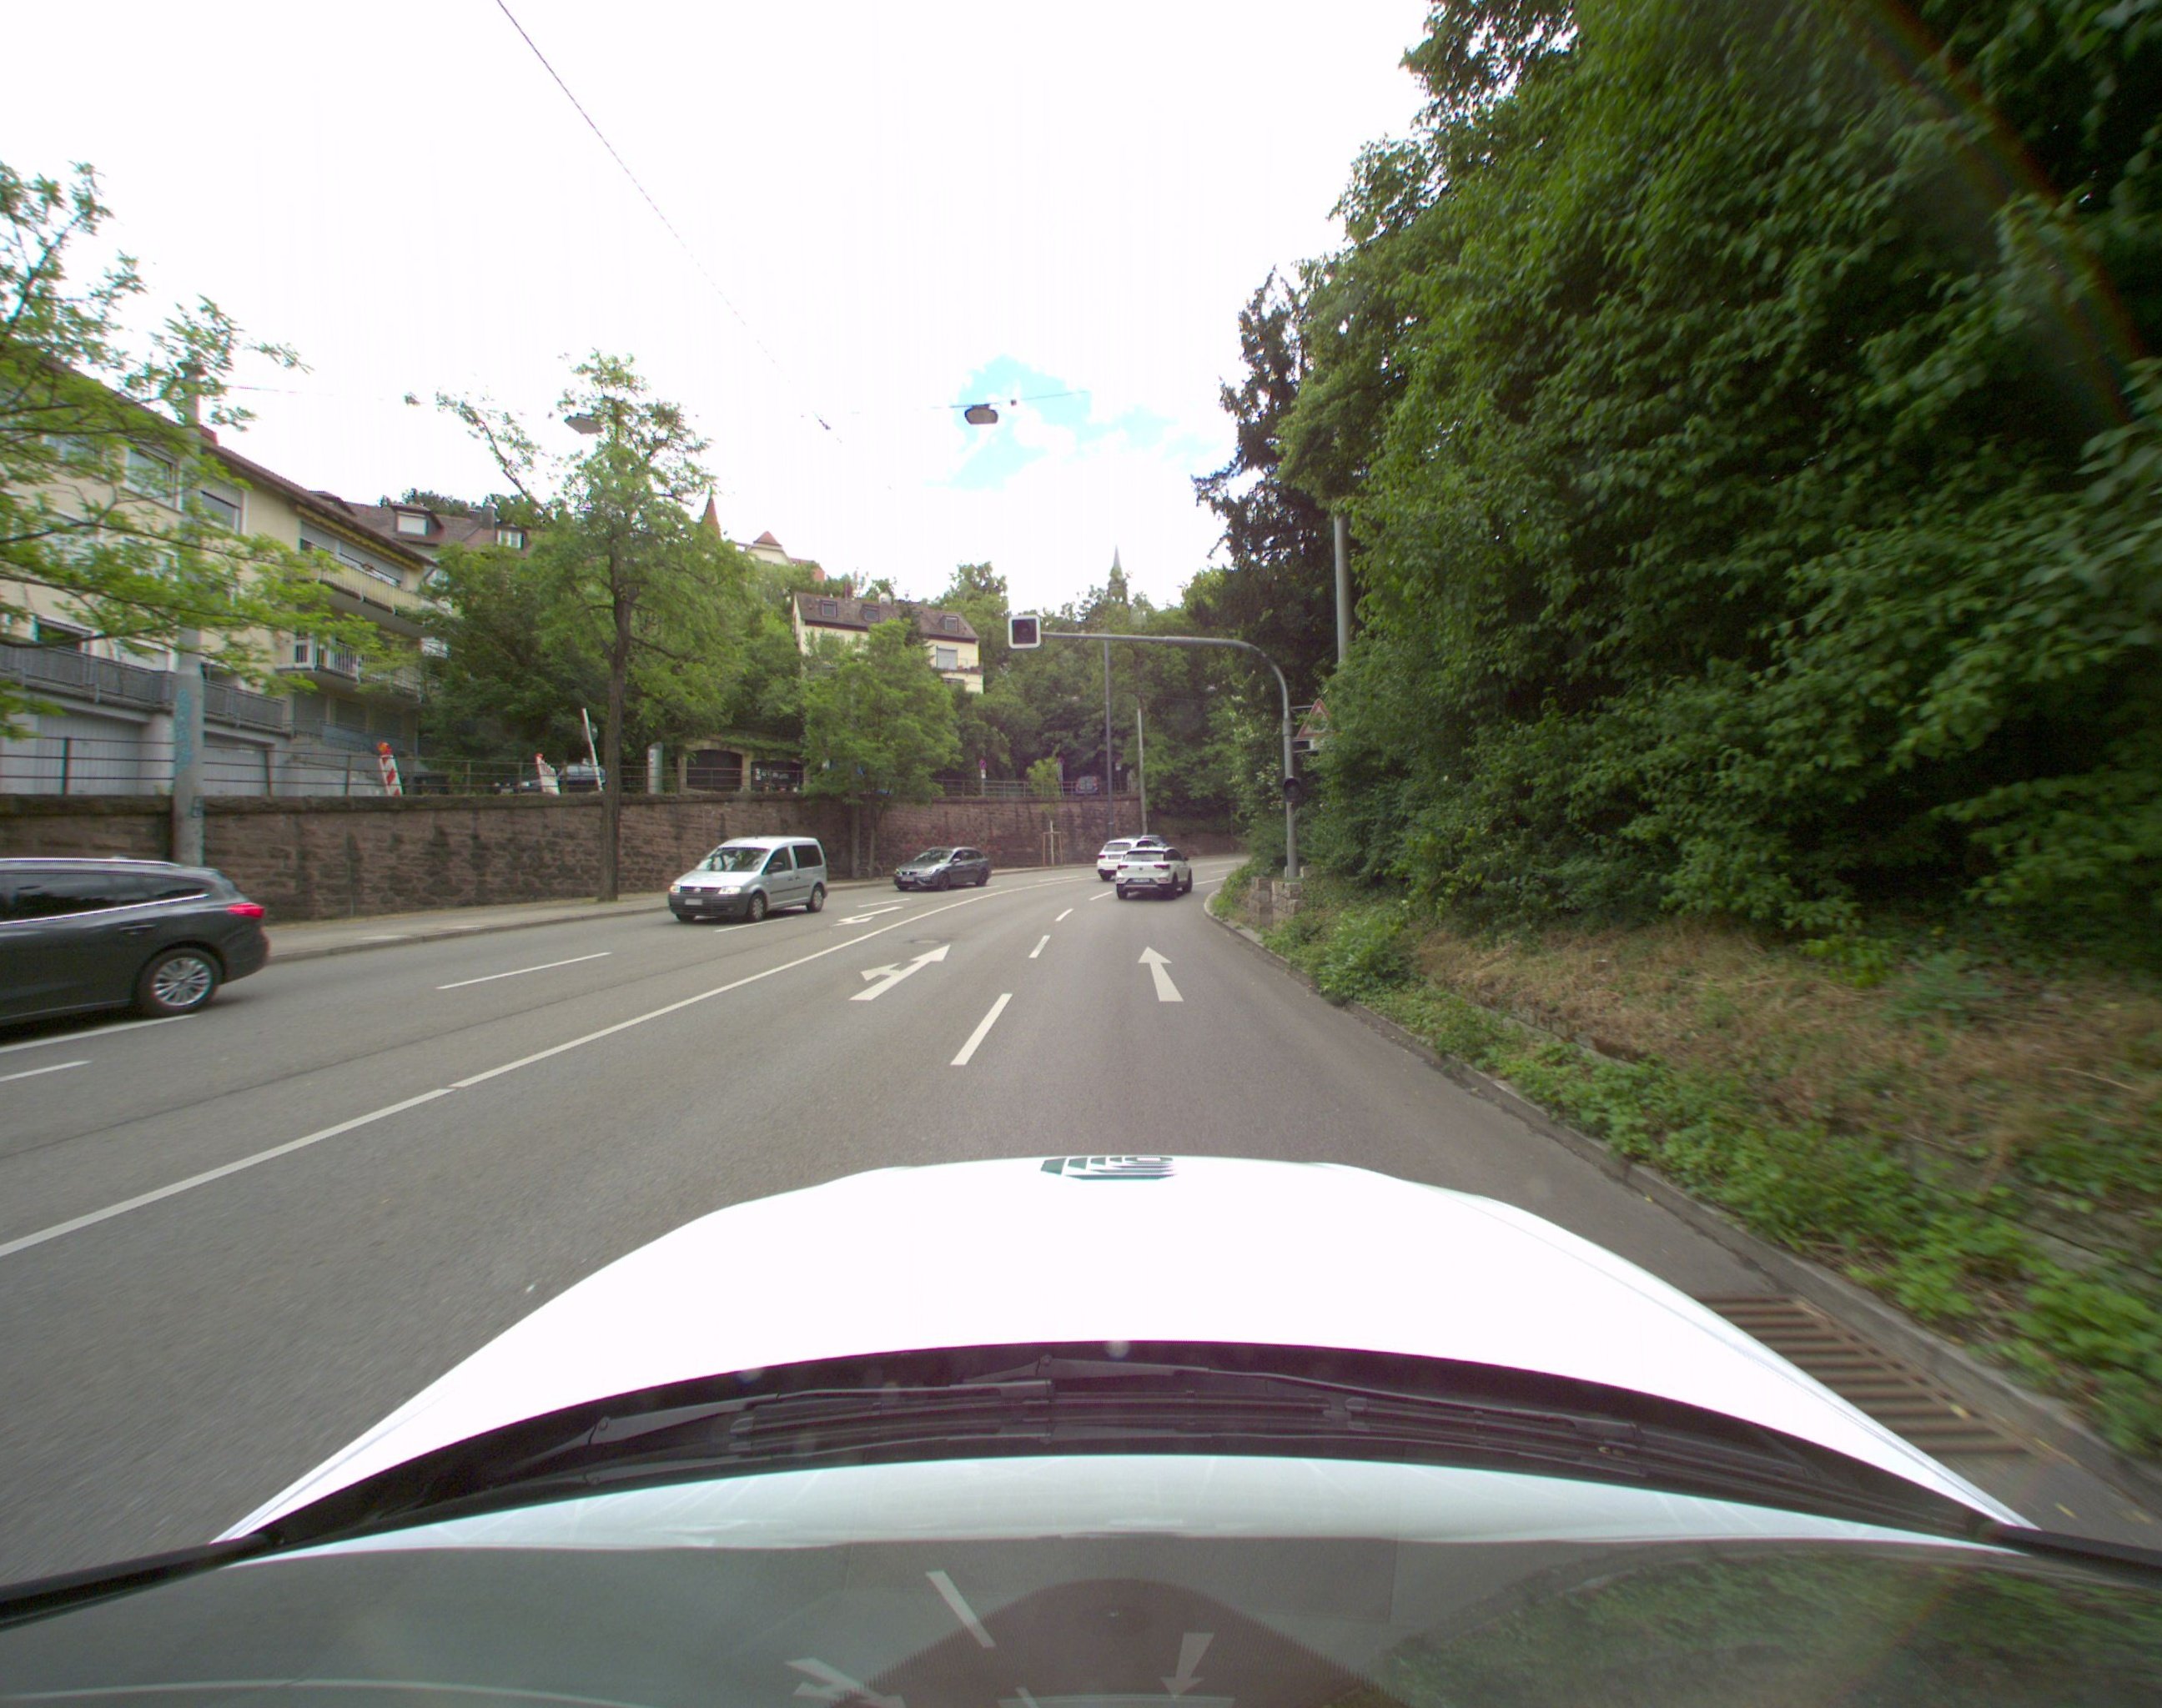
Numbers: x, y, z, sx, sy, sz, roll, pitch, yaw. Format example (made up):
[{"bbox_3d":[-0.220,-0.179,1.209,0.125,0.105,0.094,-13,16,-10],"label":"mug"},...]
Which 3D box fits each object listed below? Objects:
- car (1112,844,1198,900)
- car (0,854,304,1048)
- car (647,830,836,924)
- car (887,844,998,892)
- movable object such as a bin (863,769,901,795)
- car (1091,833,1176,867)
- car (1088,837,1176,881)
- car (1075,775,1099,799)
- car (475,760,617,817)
[{"bbox_3d":[2.445,0.483,25.915,1.740,1.552,4.359,1,2,19],"label":"car"},{"bbox_3d":[-9.210,0.762,6.380,1.650,1.473,4.616,0,0,3],"label":"car"},{"bbox_3d":[-7.403,0.434,18.357,1.846,1.814,4.460,1,1,8],"label":"car"},{"bbox_3d":[-4.775,0.432,28.767,1.767,1.466,4.427,1,2,23],"label":"car"},{"bbox_3d":[-11.325,-4.076,46.336,1.236,1.356,1.615,-3,1,39],"label":"movable object such as a bin"},{"bbox_3d":[2.756,-0.241,42.437,4.219,1.527,1.714,-3,3,-34],"label":"car"},{"bbox_3d":[2.194,0.145,33.700,1.841,1.605,4.700,2,3,28],"label":"car"},{"bbox_3d":[0.453,-4.767,58.241,1.671,1.379,3.736,0,-1,1],"label":"car"},{"bbox_3d":[-18.883,-2.267,28.975,1.756,1.640,4.080,-1,-1,14],"label":"car"}]
